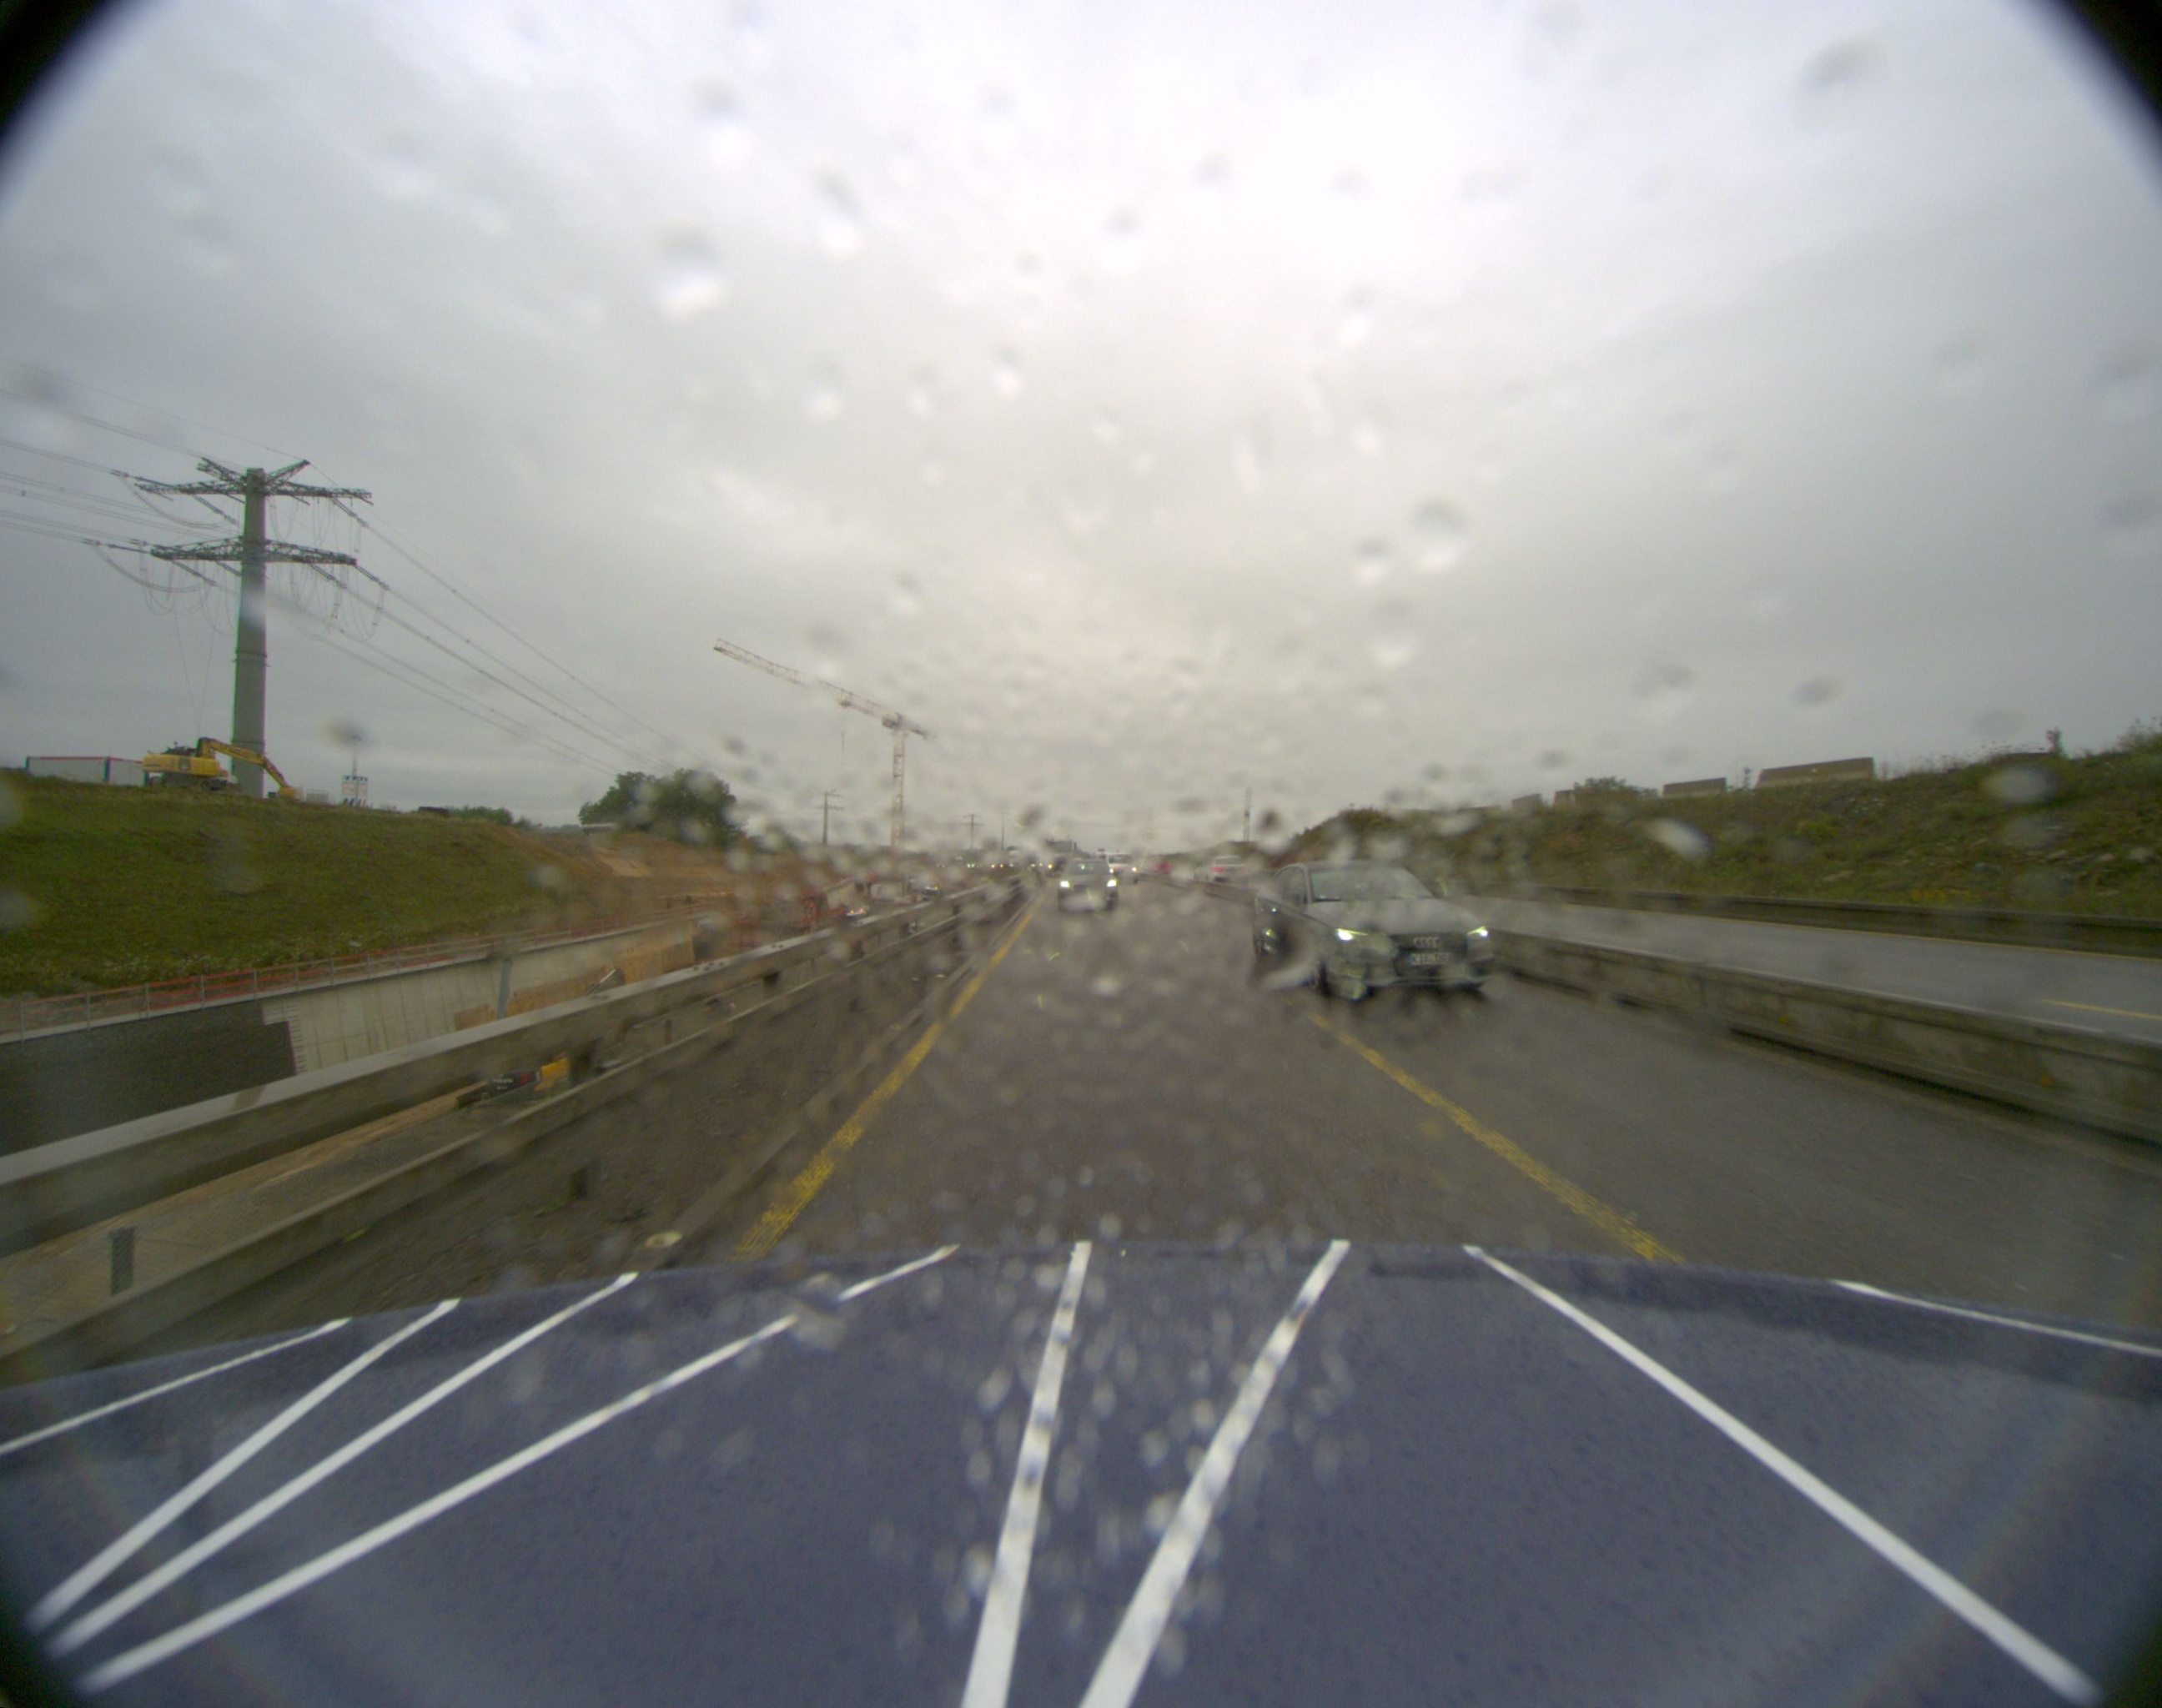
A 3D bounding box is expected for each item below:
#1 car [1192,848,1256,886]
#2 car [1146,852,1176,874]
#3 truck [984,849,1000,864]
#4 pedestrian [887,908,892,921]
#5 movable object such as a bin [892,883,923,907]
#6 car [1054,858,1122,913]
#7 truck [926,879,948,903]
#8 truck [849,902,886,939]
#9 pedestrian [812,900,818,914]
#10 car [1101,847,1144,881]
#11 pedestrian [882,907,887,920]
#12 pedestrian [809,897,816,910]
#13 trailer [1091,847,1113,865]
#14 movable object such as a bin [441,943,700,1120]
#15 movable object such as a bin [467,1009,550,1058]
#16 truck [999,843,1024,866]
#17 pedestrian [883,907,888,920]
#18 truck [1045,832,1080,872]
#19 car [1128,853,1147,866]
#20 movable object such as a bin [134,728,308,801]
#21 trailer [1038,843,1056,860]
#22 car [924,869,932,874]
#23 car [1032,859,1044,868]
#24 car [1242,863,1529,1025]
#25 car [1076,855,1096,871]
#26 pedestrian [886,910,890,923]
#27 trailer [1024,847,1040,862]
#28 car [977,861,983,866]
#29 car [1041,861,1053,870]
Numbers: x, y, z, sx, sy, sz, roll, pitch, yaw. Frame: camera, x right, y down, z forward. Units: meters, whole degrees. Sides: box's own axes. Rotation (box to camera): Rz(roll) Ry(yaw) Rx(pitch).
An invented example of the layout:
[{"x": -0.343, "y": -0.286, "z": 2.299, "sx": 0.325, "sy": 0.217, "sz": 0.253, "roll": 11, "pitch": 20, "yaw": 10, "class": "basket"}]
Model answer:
[{"x": 6.812, "y": 0.574, "z": 36.738, "sx": 2.051, "sy": 1.623, "sz": 4.988, "roll": -2, "pitch": 1, "yaw": -1, "class": "car"}, {"x": 6.134, "y": 0.663, "z": 58.346, "sx": 1.732, "sy": 1.568, "sz": 3.720, "roll": -2, "pitch": 1, "yaw": -2, "class": "car"}, {"x": -23.565, "y": 0.673, "z": 201.512, "sx": 3.548, "sy": 3.871, "sz": 8.328, "roll": -3, "pitch": 0, "yaw": -9, "class": "truck"}, {"x": -28.101, "y": 8.872, "z": 111.499, "sx": 0.603, "sy": 1.894, "sz": 0.481, "roll": 0, "pitch": 1, "yaw": -8, "class": "pedestrian"}, {"x": -29.483, "y": 6.930, "z": 129.258, "sx": 3.517, "sy": 3.405, "sz": 6.651, "roll": -2, "pitch": 2, "yaw": 1, "class": "movable object such as a bin"}, {"x": 0.154, "y": 0.889, "z": 23.610, "sx": 1.874, "sy": 1.481, "sz": 4.260, "roll": -2, "pitch": 0, "yaw": -1, "class": "car"}, {"x": -25.830, "y": 6.534, "z": 136.543, "sx": 3.363, "sy": 3.521, "sz": 8.898, "roll": -1, "pitch": 2, "yaw": -7, "class": "truck"}, {"x": -26.798, "y": 8.267, "z": 95.691, "sx": 2.711, "sy": 3.591, "sz": 9.068, "roll": 0, "pitch": 1, "yaw": -4, "class": "truck"}, {"x": -40.668, "y": 8.173, "z": 116.290, "sx": 0.489, "sy": 2.088, "sz": 0.481, "roll": -7, "pitch": 2, "yaw": -7, "class": "pedestrian"}, {"x": 2.510, "y": 0.555, "z": 47.297, "sx": 2.070, "sy": 1.933, "sz": 5.154, "roll": -2, "pitch": 1, "yaw": -3, "class": "car"}, {"x": -28.982, "y": 8.734, "z": 111.932, "sx": 0.603, "sy": 1.894, "sz": 0.481, "roll": 1, "pitch": 1, "yaw": -8, "class": "pedestrian"}, {"x": -40.607, "y": 7.500, "z": 114.814, "sx": 0.488, "sy": 1.794, "sz": 0.583, "roll": -5, "pitch": 2, "yaw": 33, "class": "pedestrian"}, {"x": 3.210, "y": 0.289, "z": 117.631, "sx": 2.517, "sy": 2.549, "sz": 7.159, "roll": -3, "pitch": 0, "yaw": -5, "class": "trailer"}, {"x": -25.560, "y": 8.560, "z": 39.610, "sx": 4.906, "sy": 5.639, "sz": 12.083, "roll": -4, "pitch": 3, "yaw": 0, "class": "movable object such as a bin"}, {"x": -34.227, "y": 10.700, "z": 45.522, "sx": 2.524, "sy": 1.900, "sz": 3.255, "roll": -4, "pitch": 1, "yaw": -6, "class": "movable object such as a bin"}, {"x": -14.695, "y": 0.125, "z": 159.276, "sx": 4.320, "sy": 4.319, "sz": 13.398, "roll": -3, "pitch": 0, "yaw": -8, "class": "truck"}, {"x": -28.322, "y": 8.660, "z": 110.287, "sx": 0.603, "sy": 1.759, "sz": 0.481, "roll": 2, "pitch": 1, "yaw": -8, "class": "pedestrian"}, {"x": -1.899, "y": -0.207, "z": 72.165, "sx": 2.857, "sy": 3.462, "sz": 8.640, "roll": -2, "pitch": 1, "yaw": -4, "class": "truck"}, {"x": 6.448, "y": 0.586, "z": 86.905, "sx": 1.773, "sy": 1.435, "sz": 4.671, "roll": -2, "pitch": 0, "yaw": 0, "class": "car"}, {"x": -61.252, "y": -6.242, "z": 54.529, "sx": 3.107, "sy": 4.181, "sz": 8.178, "roll": -1, "pitch": 0, "yaw": 0, "class": "movable object such as a bin"}, {"x": -8.600, "y": -0.630, "z": 188.682, "sx": 3.266, "sy": 3.941, "sz": 11.527, "roll": -2, "pitch": 0, "yaw": -8, "class": "trailer"}, {"x": -48.137, "y": 5.500, "z": 239.510, "sx": 2.352, "sy": 1.609, "sz": 4.855, "roll": -1, "pitch": 0, "yaw": -9, "class": "car"}, {"x": -8.488, "y": 1.789, "z": 150.692, "sx": 1.791, "sy": 1.646, "sz": 3.996, "roll": -3, "pitch": 0, "yaw": -10, "class": "car"}, {"x": 3.279, "y": 0.867, "z": 9.135, "sx": 1.805, "sy": 1.375, "sz": 4.087, "roll": -2, "pitch": 1, "yaw": 0, "class": "car"}, {"x": 0.576, "y": 1.035, "z": 89.275, "sx": 1.790, "sy": 1.744, "sz": 3.998, "roll": -3, "pitch": 0, "yaw": -6, "class": "car"}, {"x": -28.152, "y": 9.161, "z": 110.859, "sx": 0.603, "sy": 1.894, "sz": 0.614, "roll": 0, "pitch": 1, "yaw": -7, "class": "pedestrian"}, {"x": -14.216, "y": 0.214, "z": 218.935, "sx": 3.005, "sy": 4.395, "sz": 15.689, "roll": -1, "pitch": 0, "yaw": -10, "class": "trailer"}, {"x": -29.794, "y": 2.683, "z": 224.087, "sx": 1.790, "sy": 1.418, "sz": 3.997, "roll": -3, "pitch": 0, "yaw": -8, "class": "car"}, {"x": -6.174, "y": 2.109, "z": 136.309, "sx": 1.790, "sy": 1.418, "sz": 3.997, "roll": -3, "pitch": 0, "yaw": -8, "class": "car"}]
